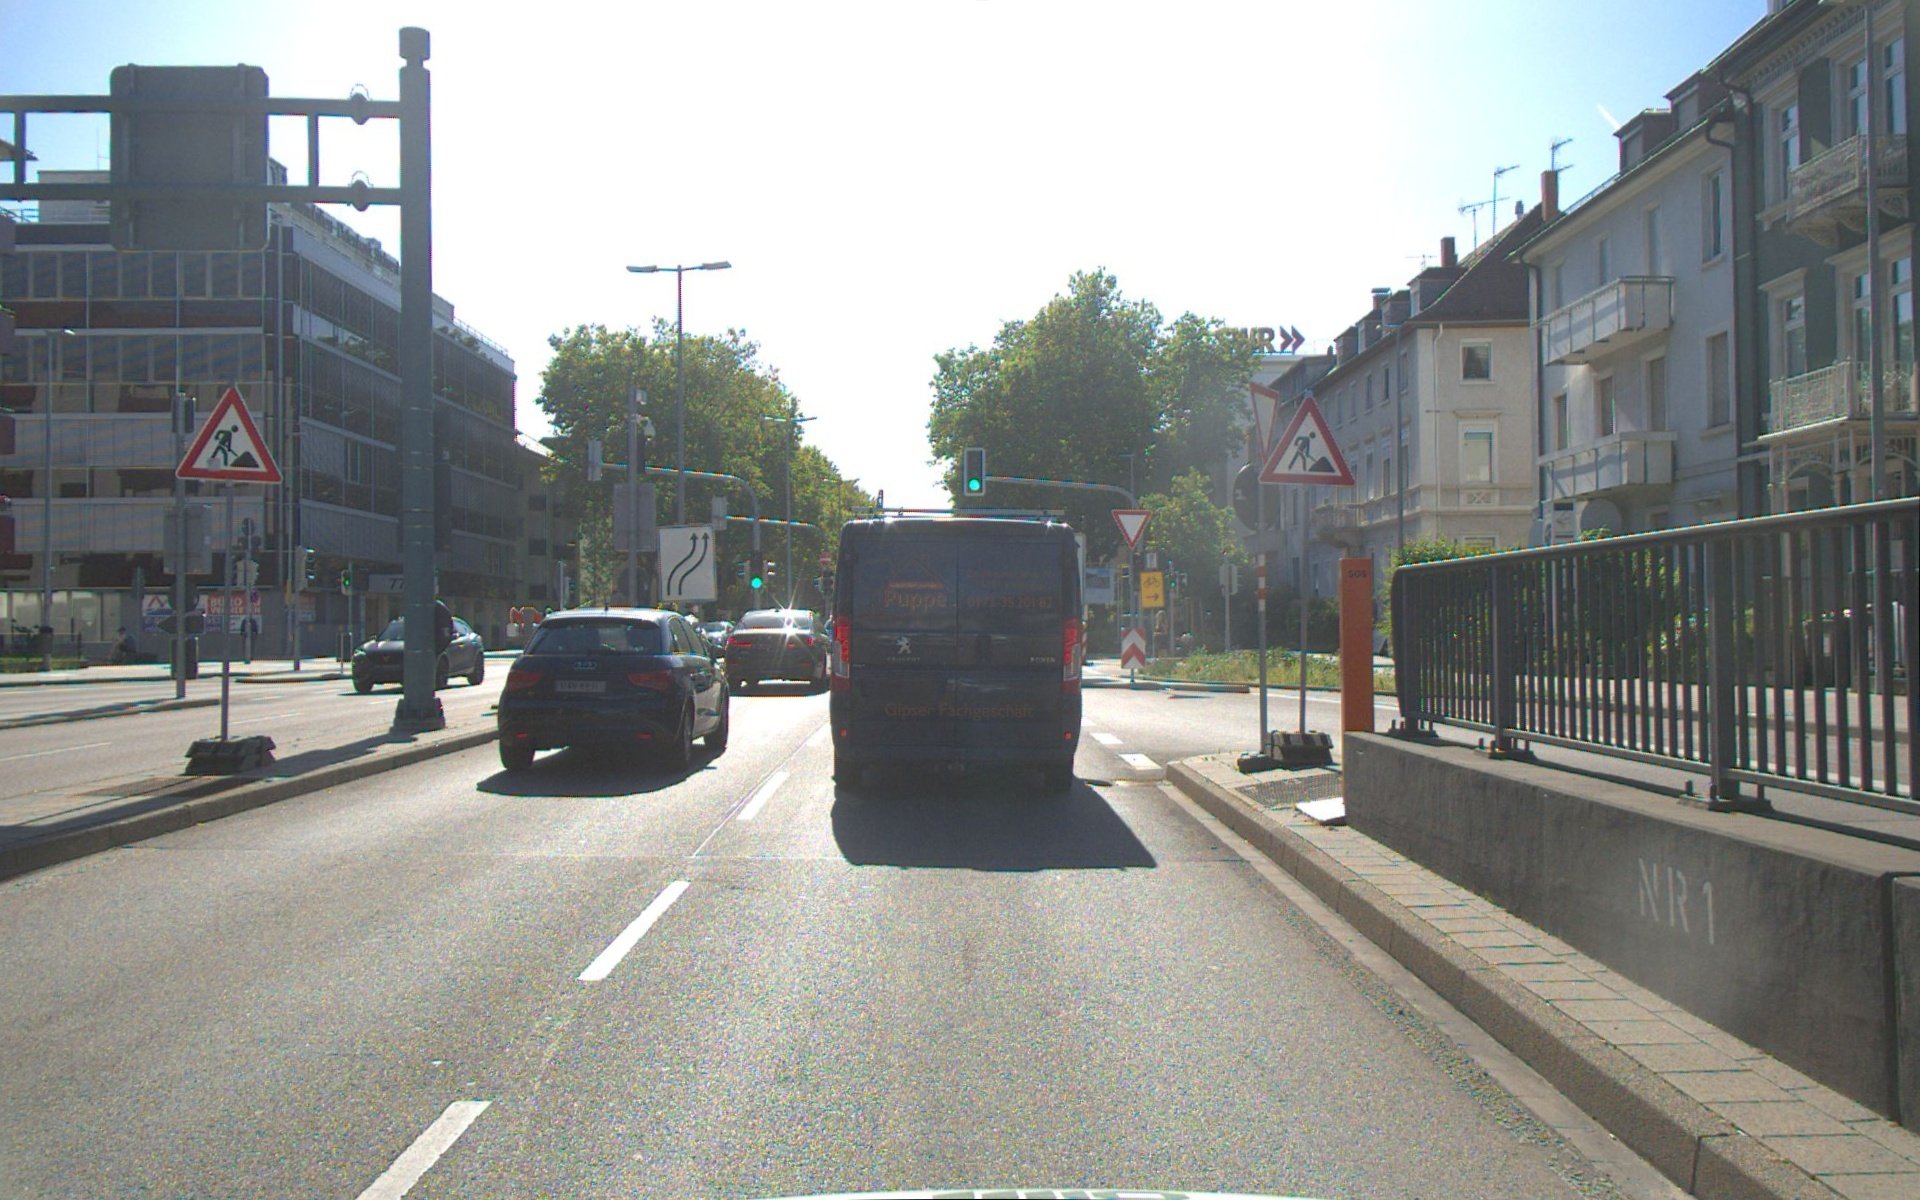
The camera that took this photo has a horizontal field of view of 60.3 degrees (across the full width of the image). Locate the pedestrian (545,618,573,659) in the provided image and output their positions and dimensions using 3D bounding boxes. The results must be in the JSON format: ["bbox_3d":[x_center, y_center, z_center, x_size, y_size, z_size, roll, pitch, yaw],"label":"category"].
[{"bbox_3d":[-16.965,1.617,70.006,0.846,1.741,1.013,-1,-1,7],"label":"pedestrian"}]

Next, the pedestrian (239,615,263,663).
[{"bbox_3d":[-25.219,1.375,58.812,0.691,1.687,0.739,0,-1,-30],"label":"pedestrian"}]

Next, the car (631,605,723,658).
[{"bbox_3d":[-8.737,0.943,51.408,1.952,1.478,4.618,1,1,1],"label":"car"}]

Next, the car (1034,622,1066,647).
[{"bbox_3d":[5.584,2.126,103.129,1.727,1.534,4.250,0,-1,0],"label":"car"}]

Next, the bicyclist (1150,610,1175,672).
[{"bbox_3d":[5.760,1.159,46.981,0.591,1.738,0.858,0,-1,0],"label":"bicyclist"}]

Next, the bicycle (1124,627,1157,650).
[{"bbox_3d":[8.212,1.730,75.200,0.577,1.023,2.124,-1,-1,34],"label":"bicycle"}]

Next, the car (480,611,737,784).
[{"bbox_3d":[-3.237,0.880,15.988,1.711,1.432,3.998,1,-2,-2],"label":"car"}]

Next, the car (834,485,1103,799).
[{"bbox_3d":[0.039,0.338,14.682,2.052,2.396,3.932,0,0,-1],"label":"car"}]

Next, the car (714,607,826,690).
[{"bbox_3d":[-3.487,0.870,30.932,1.711,1.432,3.998,1,-1,-2],"label":"car"}]

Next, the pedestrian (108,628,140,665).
[{"bbox_3d":[-26.571,1.483,52.584,0.704,1.173,0.786,0,-1,-12],"label":"pedestrian"}]

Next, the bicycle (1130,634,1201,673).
[{"bbox_3d":[5.815,1.516,46.921,1.922,1.043,0.605,1,0,-1],"label":"bicycle"}]

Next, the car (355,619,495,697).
[{"bbox_3d":[-11.438,1.201,35.646,1.574,1.466,4.310,-3,0,0],"label":"car"}]

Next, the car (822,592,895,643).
[{"bbox_3d":[-3.033,0.515,50.178,1.871,1.469,4.602,1,0,0],"label":"car"}]

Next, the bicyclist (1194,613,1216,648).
[{"bbox_3d":[10.688,1.332,72.079,0.710,1.526,0.869,0,-1,-8],"label":"bicyclist"}]

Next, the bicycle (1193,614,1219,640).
[{"bbox_3d":[10.704,1.183,72.075,0.675,1.117,1.683,0,-1,-8],"label":"bicycle"}]
